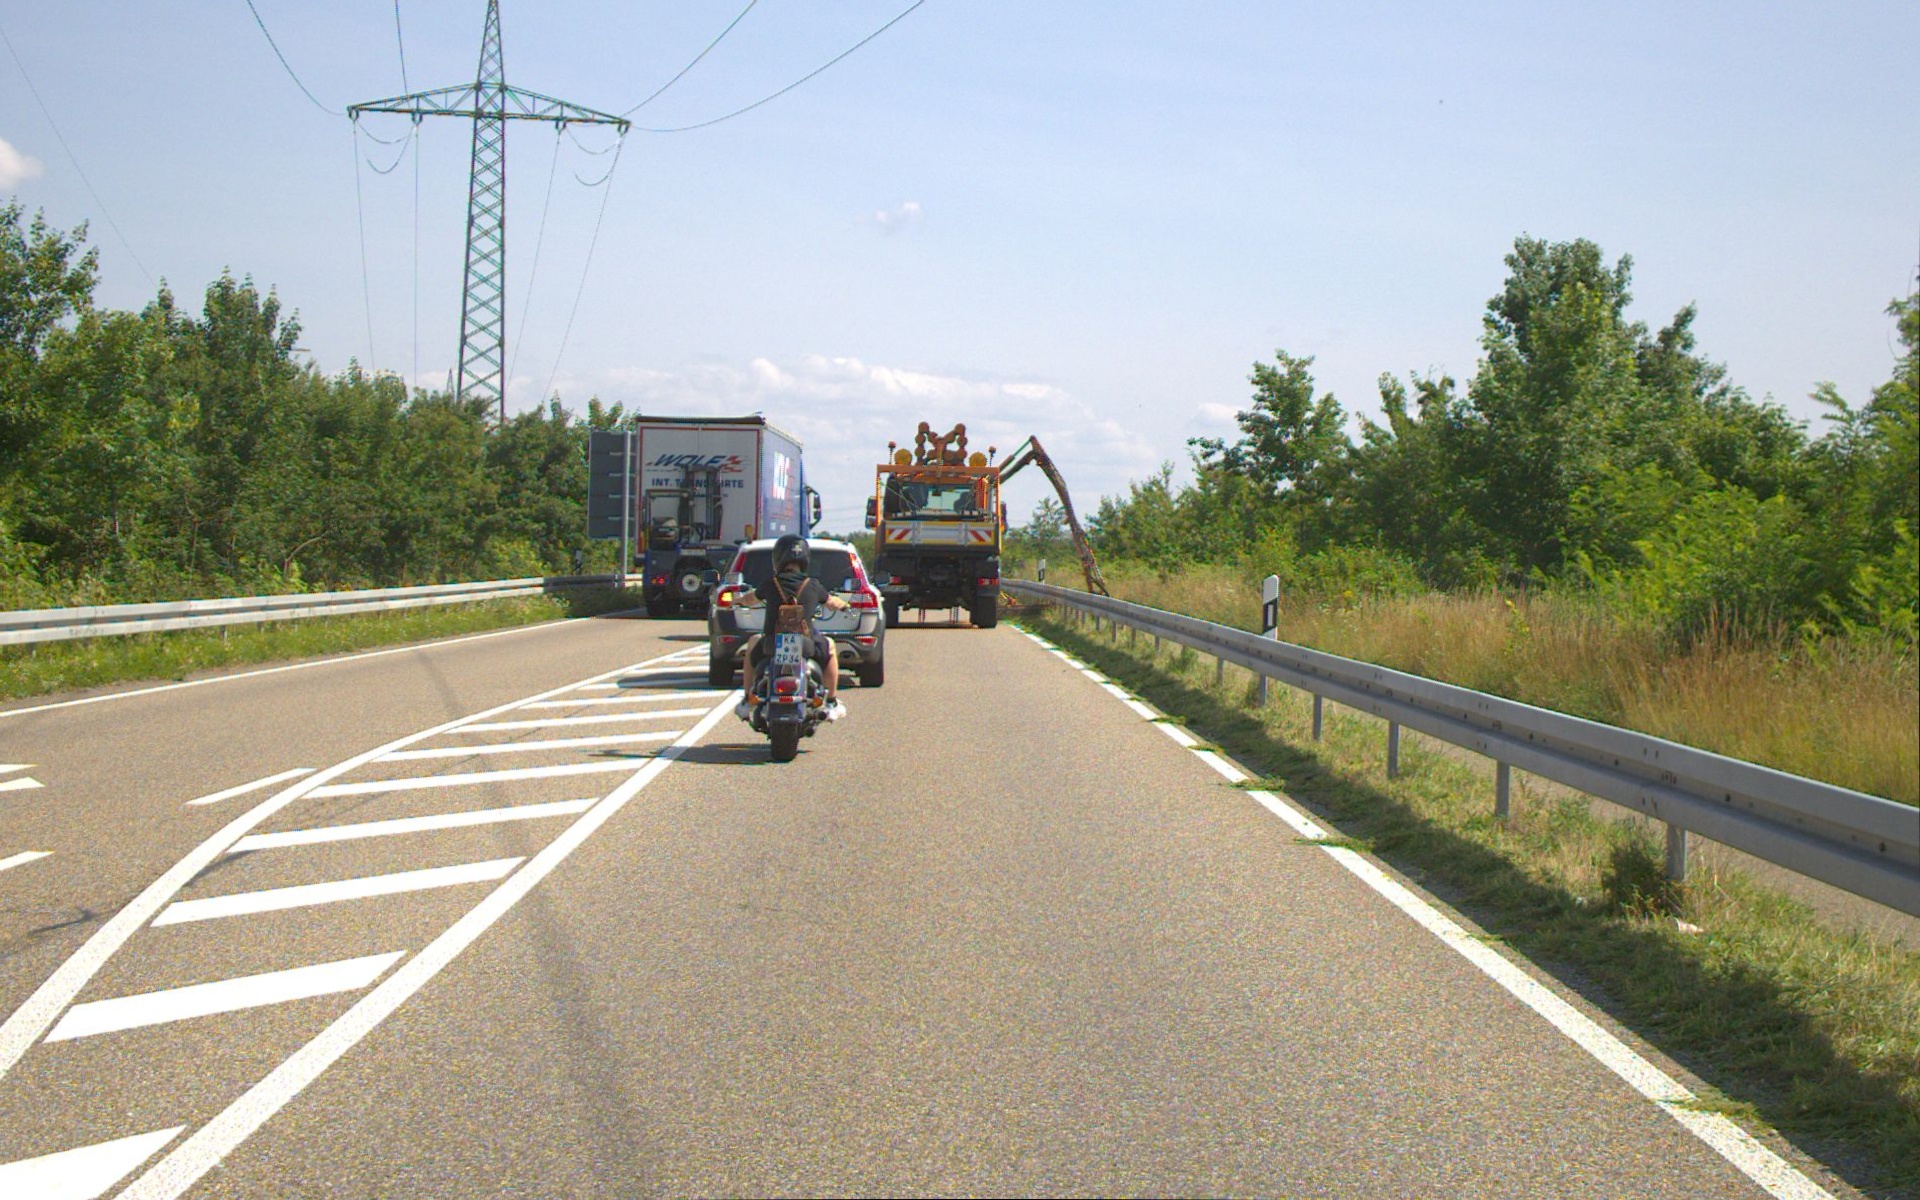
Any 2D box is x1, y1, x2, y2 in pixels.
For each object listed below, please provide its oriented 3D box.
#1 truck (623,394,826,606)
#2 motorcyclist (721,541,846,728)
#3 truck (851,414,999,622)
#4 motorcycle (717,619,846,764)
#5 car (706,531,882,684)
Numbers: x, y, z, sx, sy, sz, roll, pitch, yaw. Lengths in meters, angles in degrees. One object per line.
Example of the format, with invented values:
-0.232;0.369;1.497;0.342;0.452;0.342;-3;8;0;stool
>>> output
-4.968;-2.115;75.592;2.968;4.172;14.821;1;1;2;truck
-1.234;0.229;24.131;0.837;1.276;0.919;1;1;-2;motorcyclist
-0.644;-1.541;65.359;2.614;3.698;6.778;1;1;0;truck
-1.235;0.618;24.022;0.859;0.912;2.228;0;1;-2;motorcycle
-1.804;0.041;36.574;1.700;1.531;3.500;1;1;-5;car
